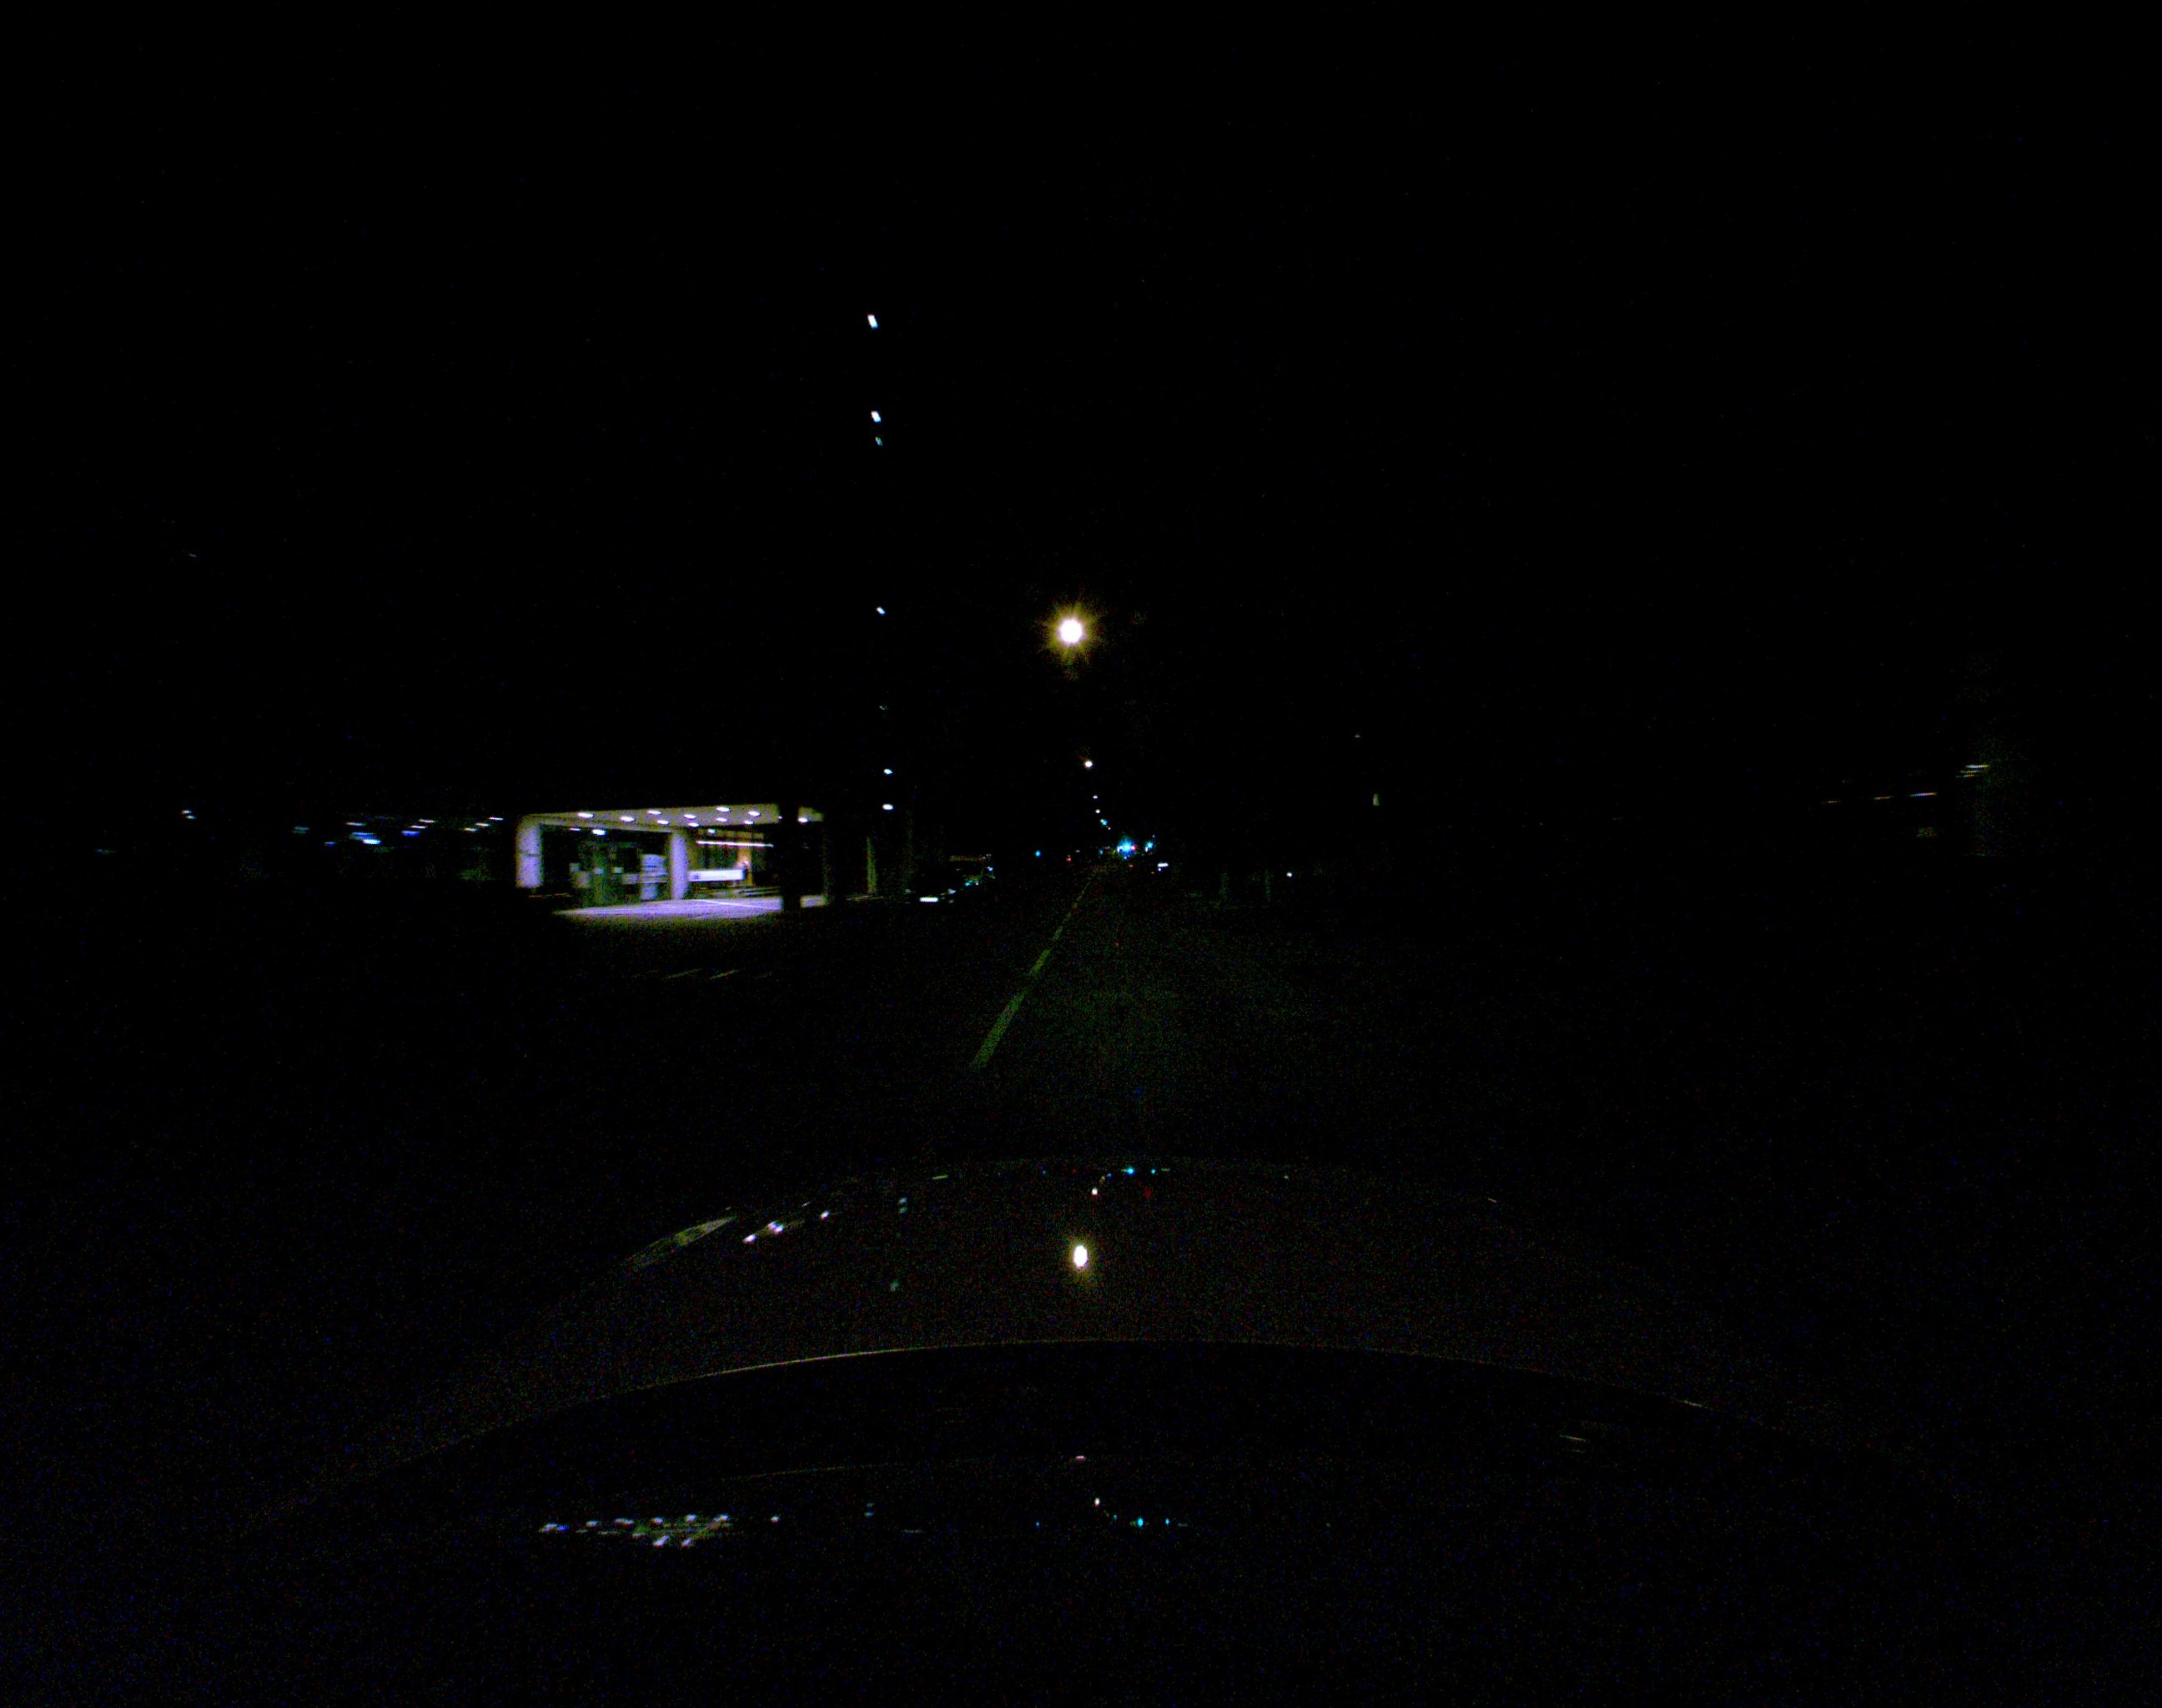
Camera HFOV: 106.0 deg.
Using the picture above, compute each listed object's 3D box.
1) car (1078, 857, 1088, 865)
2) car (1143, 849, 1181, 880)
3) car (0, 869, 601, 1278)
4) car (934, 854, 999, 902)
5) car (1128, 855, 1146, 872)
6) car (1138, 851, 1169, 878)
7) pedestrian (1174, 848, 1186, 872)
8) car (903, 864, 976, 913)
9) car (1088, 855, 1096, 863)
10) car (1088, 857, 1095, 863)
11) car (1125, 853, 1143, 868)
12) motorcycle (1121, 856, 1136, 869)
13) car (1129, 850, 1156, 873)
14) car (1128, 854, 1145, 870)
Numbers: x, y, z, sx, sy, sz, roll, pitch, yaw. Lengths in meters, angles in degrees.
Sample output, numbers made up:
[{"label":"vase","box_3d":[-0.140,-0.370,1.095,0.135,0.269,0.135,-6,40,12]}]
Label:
[{"label":"car","box_3d":[0.340,1.384,155.882,1.734,1.416,3.754,-2,0,2]},{"label":"car","box_3d":[4.722,0.593,47.923,1.846,1.654,4.211,-4,0,2]},{"label":"car","box_3d":[-5.327,0.959,5.276,1.815,1.599,4.076,1,0,3]},{"label":"car","box_3d":[-4.588,0.907,33.225,1.815,1.811,4.213,1,0,3]},{"label":"car","box_3d":[5.259,0.873,76.971,1.514,1.396,3.987,-3,0,3]},{"label":"car","box_3d":[4.773,0.675,53.881,1.844,1.604,4.214,-3,0,4]},{"label":"pedestrian","box_3d":[7.437,0.465,61.107,0.703,1.721,0.822,-3,-1,2]},{"label":"car","box_3d":[-4.675,1.110,27.415,1.694,1.433,3.829,1,0,1]},{"label":"car","box_3d":[2.312,0.990,170.286,1.734,1.415,3.754,-2,1,2]},{"label":"car","box_3d":[2.532,1.484,198.906,1.734,1.416,3.754,-2,0,2]},{"label":"car","box_3d":[5.967,0.772,92.267,1.846,1.590,4.301,-2,0,1]},{"label":"motorcycle","box_3d":[5.151,0.922,88.504,0.630,1.270,2.077,-2,0,36]},{"label":"car","box_3d":[5.095,0.608,68.202,1.766,1.806,4.276,-4,0,-1]},{"label":"car","box_3d":[5.759,0.819,84.963,1.585,1.534,4.139,-4,0,1]}]
